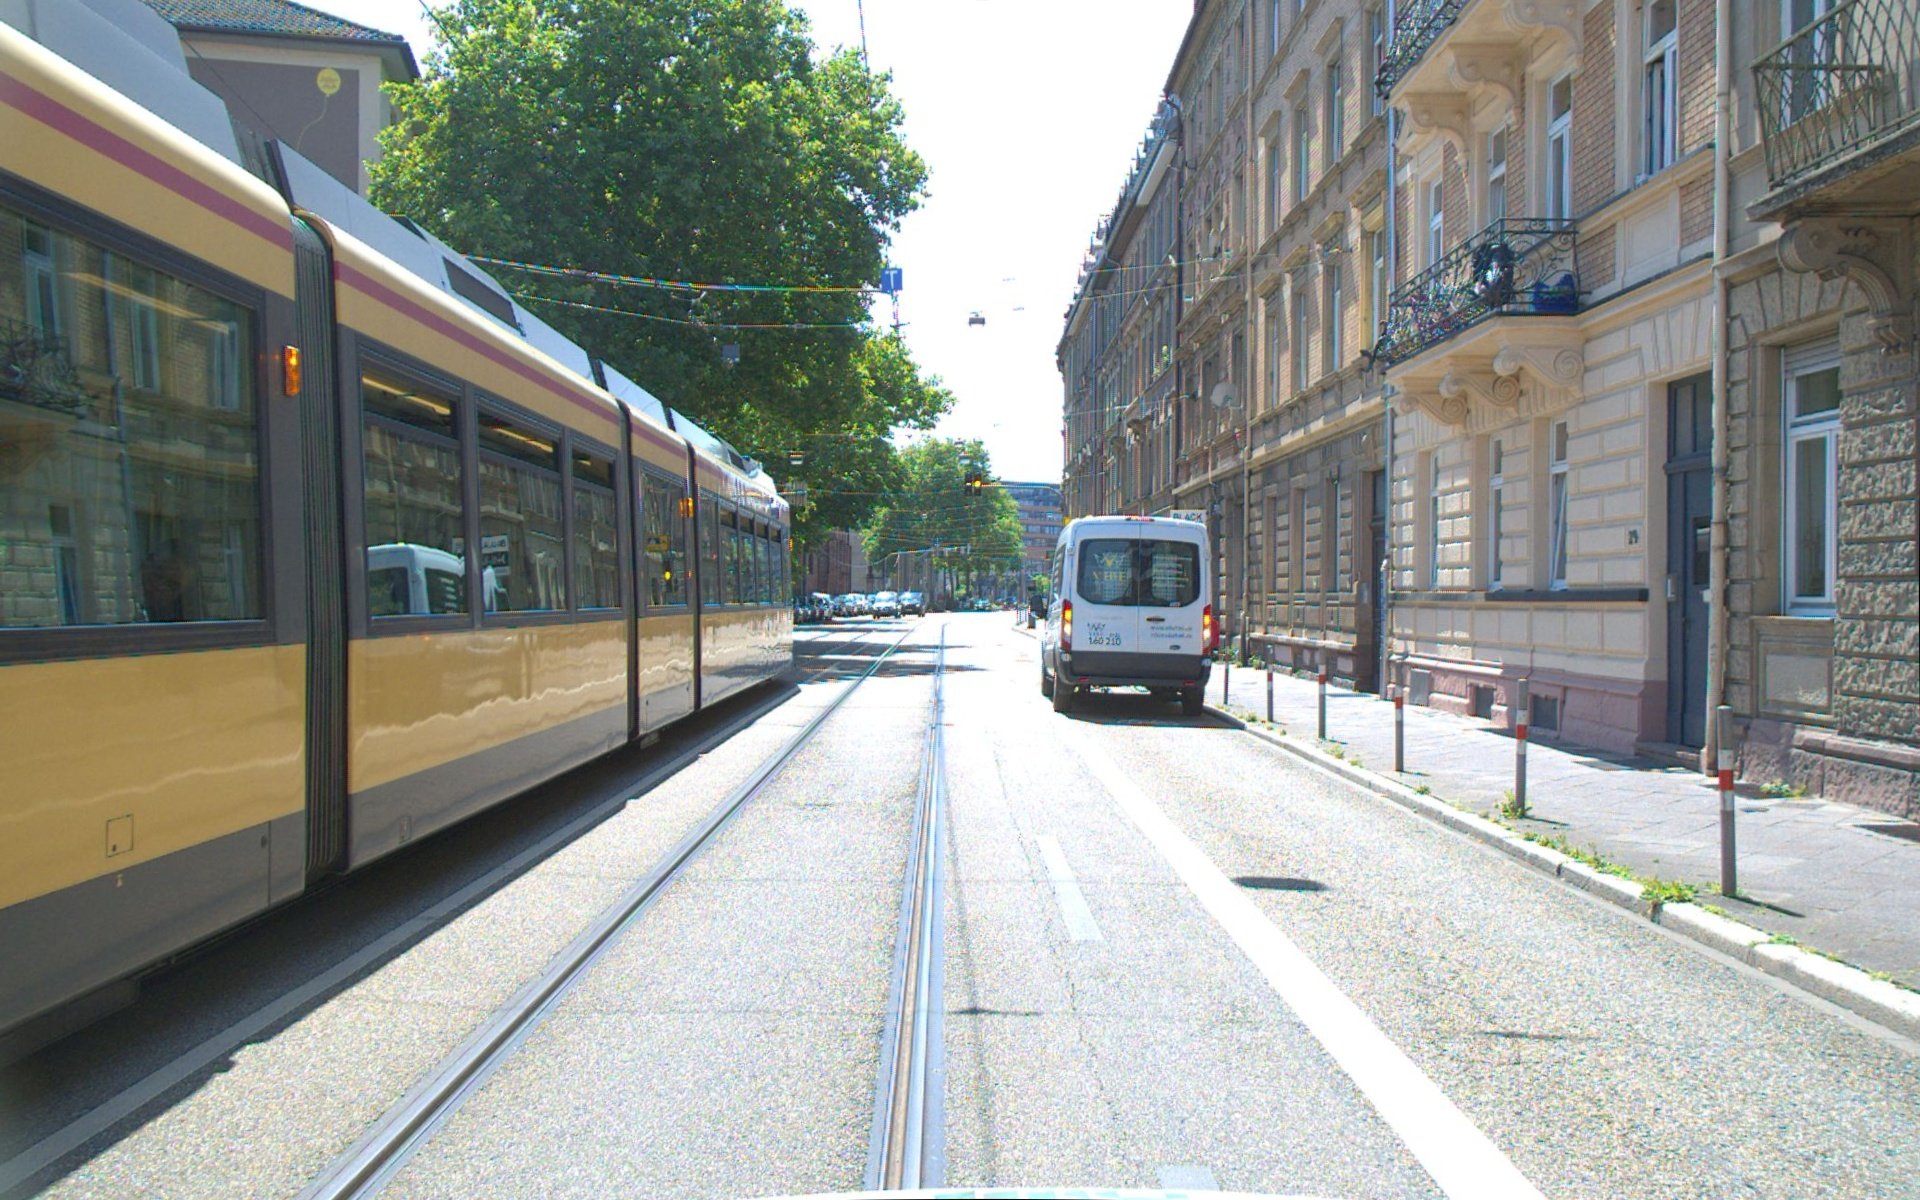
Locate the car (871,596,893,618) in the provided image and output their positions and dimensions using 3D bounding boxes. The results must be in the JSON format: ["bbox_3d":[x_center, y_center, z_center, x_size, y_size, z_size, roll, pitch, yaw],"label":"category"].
[{"bbox_3d":[-5.336,0.452,113.430,1.497,1.433,3.488,1,0,-3],"label":"car"}]

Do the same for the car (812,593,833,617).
[{"bbox_3d":[-10.190,0.378,122.947,1.425,1.761,3.192,1,0,-3],"label":"car"}]

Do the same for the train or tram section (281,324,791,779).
[{"bbox_3d":[-4.103,-0.406,20.079,2.900,3.643,13.420,1,0,-1],"label":"train or tram section"}]

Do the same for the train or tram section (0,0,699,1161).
[{"bbox_3d":[-3.983,-0.414,9.820,2.900,3.643,13.420,1,0,-1],"label":"train or tram section"}]

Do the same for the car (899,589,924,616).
[{"bbox_3d":[-3.542,0.197,120.713,1.640,1.892,3.997,1,0,-3],"label":"car"}]

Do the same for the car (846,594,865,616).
[{"bbox_3d":[-8.429,0.388,133.595,1.425,1.761,3.192,1,0,-3],"label":"car"}]

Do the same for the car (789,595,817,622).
[{"bbox_3d":[-9.463,0.500,99.883,1.425,1.523,3.661,1,0,-3],"label":"car"}]

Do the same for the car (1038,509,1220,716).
[{"bbox_3d":[2.256,0.151,23.495,2.025,2.544,5.454,1,0,1],"label":"car"}]

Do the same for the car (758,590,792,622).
[{"bbox_3d":[-9.323,0.298,83.691,1.425,1.523,3.661,1,0,-3],"label":"car"}]

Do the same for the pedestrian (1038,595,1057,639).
[{"bbox_3d":[3.124,0.598,59.041,0.606,1.566,0.464,1,0,-2],"label":"pedestrian"}]

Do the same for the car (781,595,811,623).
[{"bbox_3d":[-9.316,0.507,94.167,1.425,1.523,3.661,1,0,-3],"label":"car"}]
